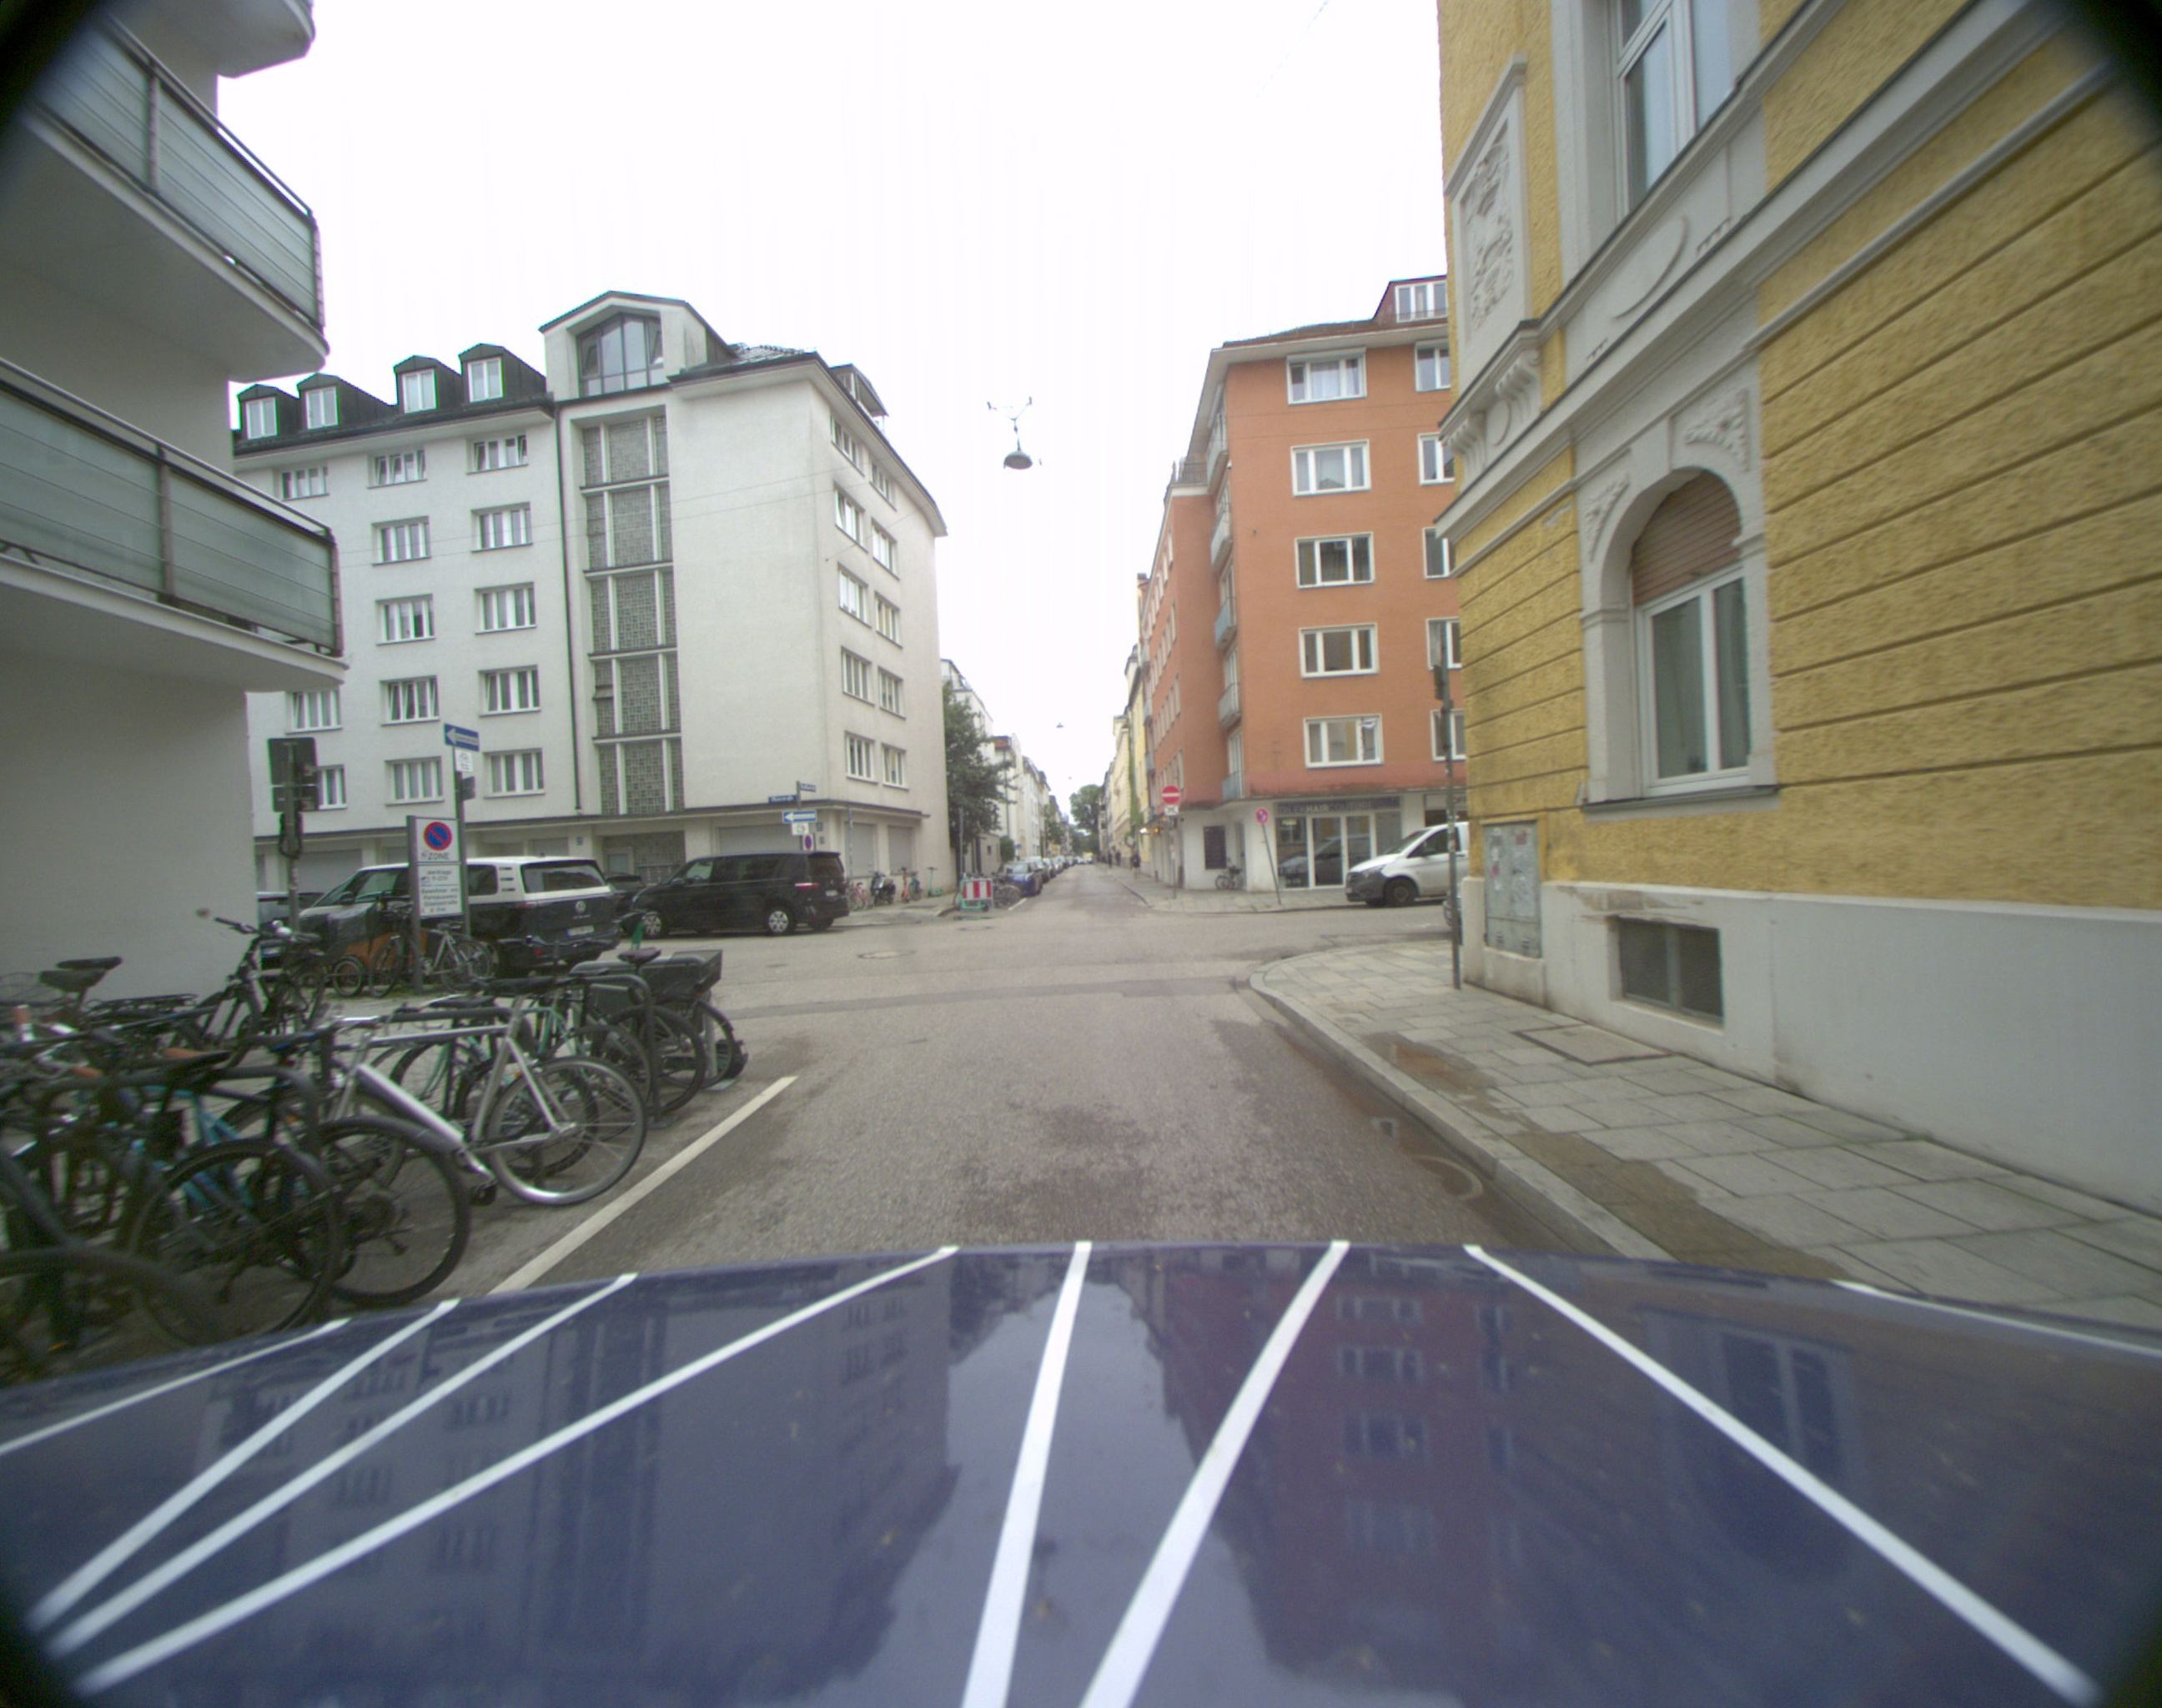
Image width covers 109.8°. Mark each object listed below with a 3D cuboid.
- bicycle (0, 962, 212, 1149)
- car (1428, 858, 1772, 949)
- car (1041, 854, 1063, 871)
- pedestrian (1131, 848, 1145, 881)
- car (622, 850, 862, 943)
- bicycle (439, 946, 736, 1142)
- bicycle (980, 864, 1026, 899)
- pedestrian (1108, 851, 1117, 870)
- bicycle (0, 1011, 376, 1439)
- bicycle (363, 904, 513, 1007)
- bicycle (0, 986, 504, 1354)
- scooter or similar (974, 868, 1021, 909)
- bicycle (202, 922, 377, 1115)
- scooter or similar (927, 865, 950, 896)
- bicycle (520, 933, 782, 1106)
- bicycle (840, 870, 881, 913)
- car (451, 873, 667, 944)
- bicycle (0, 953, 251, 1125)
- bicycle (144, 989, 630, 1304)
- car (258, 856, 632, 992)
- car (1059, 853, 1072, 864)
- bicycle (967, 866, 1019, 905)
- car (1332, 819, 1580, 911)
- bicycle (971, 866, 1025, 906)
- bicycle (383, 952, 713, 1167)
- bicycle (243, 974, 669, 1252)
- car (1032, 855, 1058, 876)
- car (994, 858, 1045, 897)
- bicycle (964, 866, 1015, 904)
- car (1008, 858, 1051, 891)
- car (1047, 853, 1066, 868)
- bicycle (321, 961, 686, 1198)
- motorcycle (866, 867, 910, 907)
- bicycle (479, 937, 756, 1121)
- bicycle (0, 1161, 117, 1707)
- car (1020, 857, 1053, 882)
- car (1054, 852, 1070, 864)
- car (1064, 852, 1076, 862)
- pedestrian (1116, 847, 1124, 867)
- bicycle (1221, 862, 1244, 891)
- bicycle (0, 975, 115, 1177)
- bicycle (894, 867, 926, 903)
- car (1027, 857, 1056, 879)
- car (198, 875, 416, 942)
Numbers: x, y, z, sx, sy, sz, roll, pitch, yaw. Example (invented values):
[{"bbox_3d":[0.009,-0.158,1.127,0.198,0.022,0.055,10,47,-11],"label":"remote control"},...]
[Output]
[{"bbox_3d":[-6.486,1.258,4.784,1.296,1.037,0.398,-1,1,-18],"label":"bicycle"},{"bbox_3d":[7.687,0.711,11.555,4.081,1.120,1.573,-2,0,3],"label":"car"},{"bbox_3d":[-2.560,0.726,67.630,1.653,1.390,4.000,-2,0,1],"label":"car"},{"bbox_3d":[2.946,0.529,39.532,0.613,1.684,0.566,-2,1,0],"label":"pedestrian"},{"bbox_3d":[-7.703,0.945,17.482,4.676,1.880,1.935,-2,0,9],"label":"car"},{"bbox_3d":[-3.242,1.241,5.045,1.699,1.154,0.313,-2,1,0],"label":"bicycle"},{"bbox_3d":[-2.912,1.019,28.389,1.608,1.207,0.529,-2,1,3],"label":"bicycle"},{"bbox_3d":[3.011,0.582,72.346,0.726,1.783,0.830,-2,1,1],"label":"pedestrian"},{"bbox_3d":[-3.308,1.151,2.419,1.699,1.154,0.378,-2,1,0],"label":"bicycle"},{"bbox_3d":[-8.039,1.245,9.508,1.607,1.207,0.472,0,1,9],"label":"bicycle"},{"bbox_3d":[-3.159,1.137,2.829,1.666,1.154,0.378,-2,1,0],"label":"bicycle"},{"bbox_3d":[-2.562,1.050,23.408,1.340,1.207,0.344,-2,1,3],"label":"scooter or similar"},{"bbox_3d":[-6.197,1.209,6.034,0.399,1.197,1.503,-1,1,-24],"label":"bicycle"},{"bbox_3d":[-5.691,1.050,30.403,0.406,1.160,1.494,-2,1,8],"label":"scooter or similar"},{"bbox_3d":[-3.233,1.234,5.780,1.699,1.154,0.418,-2,1,0],"label":"bicycle"},{"bbox_3d":[-6.786,1.130,23.430,0.528,1.207,1.610,-2,0,8],"label":"bicycle"},{"bbox_3d":[-12.619,1.306,18.472,4.208,1.457,1.742,-2,1,9],"label":"car"},{"bbox_3d":[-6.786,1.279,5.394,1.129,1.037,0.398,-1,1,-18],"label":"bicycle"},{"bbox_3d":[-2.954,1.232,3.305,1.699,1.154,0.378,-2,1,0],"label":"bicycle"},{"bbox_3d":[-10.026,1.072,12.158,4.614,1.862,1.935,-2,1,9],"label":"car"},{"bbox_3d":[-2.132,0.591,107.790,1.653,1.390,4.000,-2,0,1],"label":"car"},{"bbox_3d":[-2.933,1.047,25.409,1.608,1.207,0.529,-2,1,3],"label":"bicycle"},{"bbox_3d":[8.478,0.309,17.556,4.678,1.835,1.935,-2,-3,4],"label":"car"},{"bbox_3d":[-2.705,1.043,24.835,1.608,1.207,0.529,-2,1,3],"label":"bicycle"},{"bbox_3d":[-3.238,1.238,4.676,1.699,1.154,0.378,-2,1,0],"label":"bicycle"},{"bbox_3d":[-2.990,1.231,3.704,1.699,1.154,0.378,-2,1,0],"label":"bicycle"},{"bbox_3d":[-2.615,0.794,55.726,1.653,1.390,4.000,-2,0,1],"label":"car"},{"bbox_3d":[-2.452,0.917,31.230,1.653,1.390,4.000,-2,0,1],"label":"car"},{"bbox_3d":[-3.131,1.049,25.974,1.608,1.207,0.529,-2,1,3],"label":"bicycle"},{"bbox_3d":[-2.412,0.926,36.179,1.653,1.390,4.000,-2,0,1],"label":"car"},{"bbox_3d":[-2.393,0.621,74.303,1.653,1.390,4.000,-2,0,1],"label":"car"},{"bbox_3d":[-3.204,1.240,4.278,1.699,1.154,0.378,-2,1,0],"label":"bicycle"},{"bbox_3d":[-6.407,1.071,25.287,0.660,1.225,1.937,-2,0,8],"label":"motorcycle"},{"bbox_3d":[-3.249,1.219,5.374,1.699,1.154,0.313,-2,1,0],"label":"bicycle"},{"bbox_3d":[-2.918,1.225,1.634,1.441,1.037,0.360,0,1,9],"label":"bicycle"},{"bbox_3d":[-2.655,0.902,46.089,1.653,1.390,4.000,-2,0,1],"label":"car"},{"bbox_3d":[-2.186,0.467,89.773,1.653,1.390,4.000,-2,0,1],"label":"car"},{"bbox_3d":[-1.788,0.480,124.409,1.653,1.390,4.000,-2,0,1],"label":"car"},{"bbox_3d":[3.676,0.287,72.200,0.699,1.783,0.763,-2,1,1],"label":"pedestrian"},{"bbox_3d":[5.120,0.751,25.695,0.471,0.923,1.513,-2,0,2],"label":"bicycle"},{"bbox_3d":[-6.534,1.262,4.188,1.502,1.037,0.398,-1,1,-18],"label":"bicycle"},{"bbox_3d":[-6.151,1.104,27.352,0.528,1.207,1.610,-2,0,8],"label":"bicycle"},{"bbox_3d":[-2.649,0.899,51.354,1.653,1.390,4.000,-1,0,1],"label":"car"},{"bbox_3d":[-19.831,1.384,19.551,4.208,1.457,1.742,-2,1,9],"label":"car"}]
